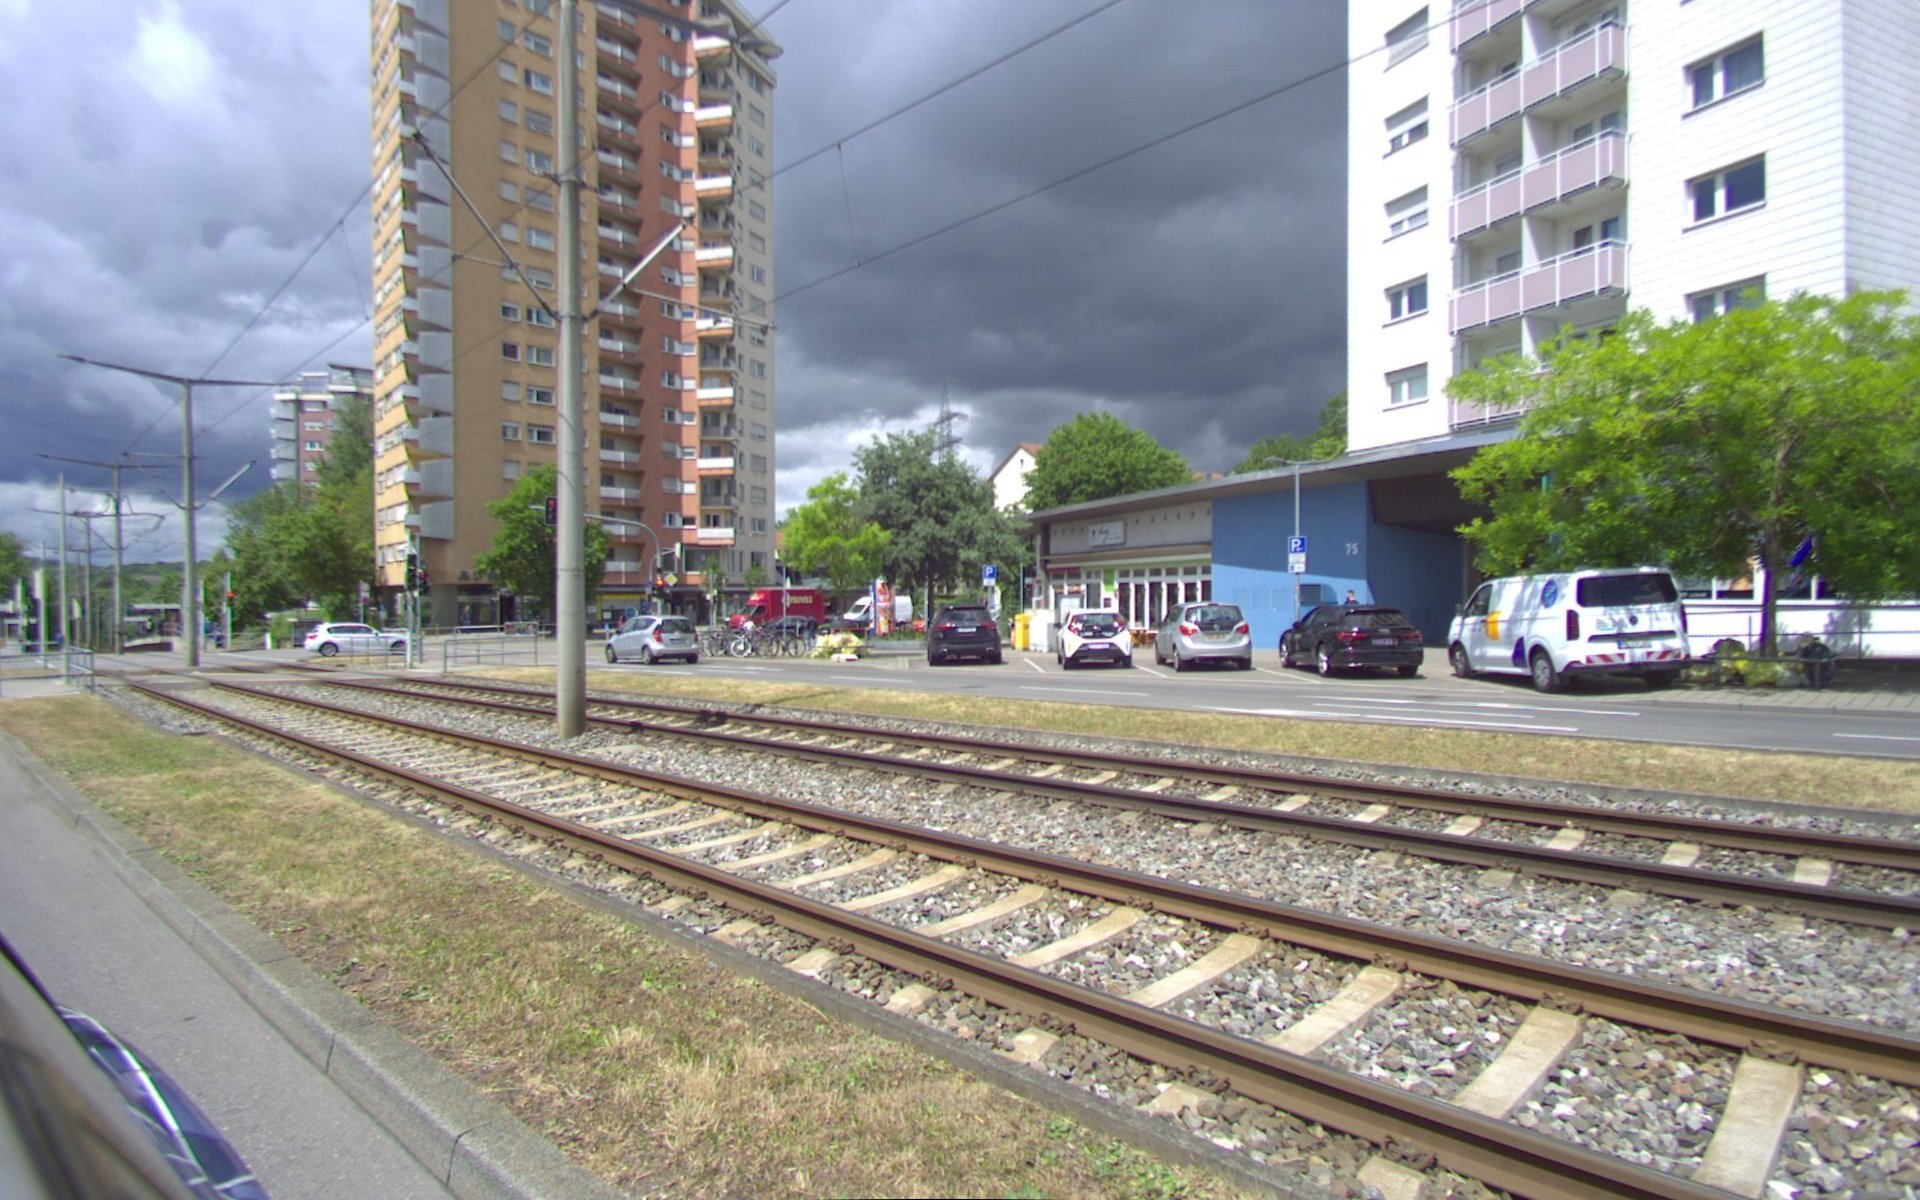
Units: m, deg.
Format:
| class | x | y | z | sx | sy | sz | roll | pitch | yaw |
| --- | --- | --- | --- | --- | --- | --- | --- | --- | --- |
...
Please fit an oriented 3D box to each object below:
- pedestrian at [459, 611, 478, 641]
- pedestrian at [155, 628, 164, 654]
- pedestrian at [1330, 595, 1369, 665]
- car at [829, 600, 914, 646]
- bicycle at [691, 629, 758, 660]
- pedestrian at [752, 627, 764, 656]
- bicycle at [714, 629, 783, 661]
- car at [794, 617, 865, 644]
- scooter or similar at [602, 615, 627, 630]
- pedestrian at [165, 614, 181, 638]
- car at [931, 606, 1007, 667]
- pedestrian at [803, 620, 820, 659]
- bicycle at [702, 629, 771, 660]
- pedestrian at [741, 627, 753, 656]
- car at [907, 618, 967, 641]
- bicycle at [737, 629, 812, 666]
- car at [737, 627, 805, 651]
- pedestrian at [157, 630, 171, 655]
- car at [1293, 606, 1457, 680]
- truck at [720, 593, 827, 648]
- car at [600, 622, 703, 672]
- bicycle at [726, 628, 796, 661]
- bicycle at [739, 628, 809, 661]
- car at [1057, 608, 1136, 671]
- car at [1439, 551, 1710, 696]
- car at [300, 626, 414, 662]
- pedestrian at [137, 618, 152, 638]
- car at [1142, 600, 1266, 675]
| class | x | y | z | sx | sy | sz | roll | pitch | yaw |
| --- | --- | --- | --- | --- | --- | --- | --- | --- | --- |
| pedestrian | -32.520 | 1.746 | 66.962 | 0.854 | 1.949 | 0.907 | -3 | -3 | 45 |
| pedestrian | -66.984 | 3.456 | 84.699 | 0.524 | 2.158 | 0.609 | 1 | -3 | -41 |
| pedestrian | 10.373 | 0.795 | 26.974 | 0.883 | 1.835 | 0.767 | -1 | -1 | 17 |
| car | -6.587 | 1.695 | 75.512 | 6.202 | 3.324 | 2.004 | 1 | -2 | -37 |
| bicycle | -8.522 | 1.602 | 36.711 | 0.705 | 1.074 | 2.399 | -3 | -3 | 44 |
| pedestrian | -10.622 | 2.165 | 53.156 | 0.562 | 1.483 | 0.528 | 0 | -2 | -19 |
| bicycle | -7.407 | 1.554 | 35.574 | 0.705 | 1.074 | 2.399 | -3 | -3 | 44 |
| car | -7.886 | 1.837 | 61.772 | 1.968 | 1.409 | 4.630 | -2 | 0 | 28 |
| scooter or similar | -25.767 | 1.655 | 75.514 | 0.545 | 1.102 | 1.729 | -2 | -2 | 41 |
| pedestrian | -59.301 | 1.931 | 76.232 | 0.748 | 1.787 | 0.853 | -3 | -3 | 45 |
| car | 0.185 | 1.047 | 29.326 | 1.904 | 1.603 | 4.003 | -1 | -2 | -3 |
| pedestrian | -6.341 | 1.675 | 43.123 | 0.600 | 1.655 | 0.412 | -2 | -3 | 42 |
| bicycle | -7.960 | 1.578 | 36.143 | 0.705 | 1.074 | 2.399 | -3 | -3 | 44 |
| pedestrian | -11.062 | 2.147 | 52.595 | 0.510 | 1.483 | 0.528 | 0 | -2 | -19 |
| car | -1.673 | 2.185 | 74.337 | 3.934 | 1.614 | 2.004 | 1 | -2 | -37 |
| bicycle | -6.008 | 1.532 | 32.832 | 0.717 | 1.042 | 2.400 | -3 | -1 | 44 |
| car | -12.427 | 2.590 | 66.739 | 3.936 | 1.506 | 2.004 | 1 | -2 | -39 |
| pedestrian | -63.959 | 3.417 | 81.339 | 0.573 | 1.946 | 0.760 | -2 | -3 | 43 |
| car | 8.592 | 0.891 | 21.374 | 1.881 | 1.394 | 3.997 | -1 | -2 | 2 |
| truck | -12.959 | 1.440 | 70.722 | 6.987 | 3.702 | 2.551 | 1 | -2 | -39 |
| car | -10.133 | 1.512 | 33.136 | 1.796 | 1.544 | 3.759 | 1 | -2 | -42 |
| bicycle | -6.879 | 1.531 | 35.022 | 0.705 | 1.074 | 2.399 | -3 | -3 | 44 |
| bicycle | -6.313 | 1.508 | 34.499 | 0.705 | 1.074 | 2.399 | -3 | -3 | 44 |
| car | 3.442 | 1.005 | 26.138 | 1.725 | 1.508 | 3.762 | -1 | -2 | 4 |
| car | 10.404 | 0.432 | 17.673 | 1.881 | 2.173 | 4.758 | -1 | -2 | 2 |
| car | -26.423 | 1.912 | 44.442 | 4.203 | 1.462 | 1.800 | 0 | -2 | -32 |
| pedestrian | -65.197 | 2.240 | 80.939 | 0.748 | 1.618 | 0.853 | -3 | -3 | 45 |
| car | 5.806 | 0.903 | 24.597 | 1.879 | 1.644 | 4.002 | -1 | -2 | -2 |
